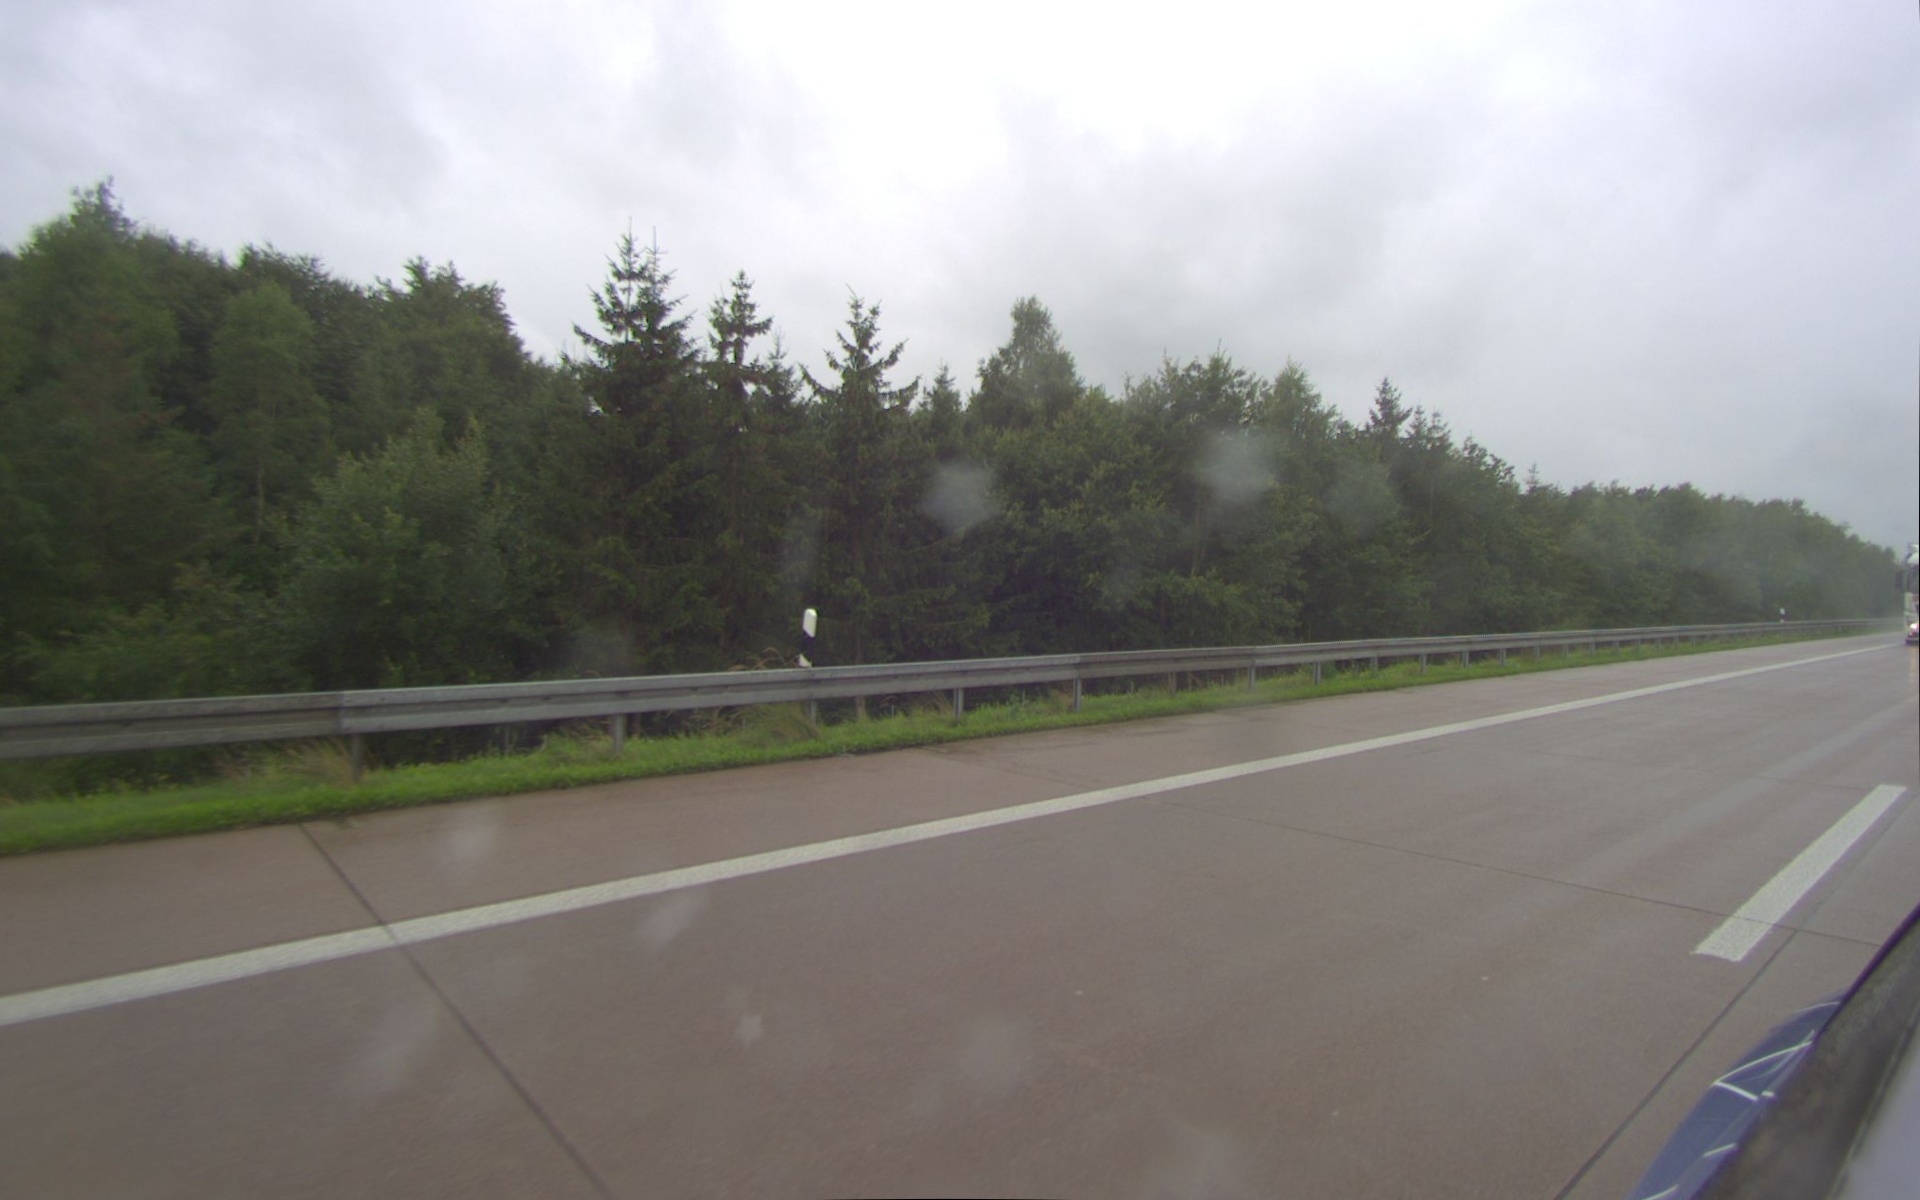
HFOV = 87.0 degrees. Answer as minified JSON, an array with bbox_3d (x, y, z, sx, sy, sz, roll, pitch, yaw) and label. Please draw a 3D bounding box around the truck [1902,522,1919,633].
[{"bbox_3d":[39.096,-0.717,39.236,6.235,4.158,2.887,2,1,-40],"label":"truck"}]
